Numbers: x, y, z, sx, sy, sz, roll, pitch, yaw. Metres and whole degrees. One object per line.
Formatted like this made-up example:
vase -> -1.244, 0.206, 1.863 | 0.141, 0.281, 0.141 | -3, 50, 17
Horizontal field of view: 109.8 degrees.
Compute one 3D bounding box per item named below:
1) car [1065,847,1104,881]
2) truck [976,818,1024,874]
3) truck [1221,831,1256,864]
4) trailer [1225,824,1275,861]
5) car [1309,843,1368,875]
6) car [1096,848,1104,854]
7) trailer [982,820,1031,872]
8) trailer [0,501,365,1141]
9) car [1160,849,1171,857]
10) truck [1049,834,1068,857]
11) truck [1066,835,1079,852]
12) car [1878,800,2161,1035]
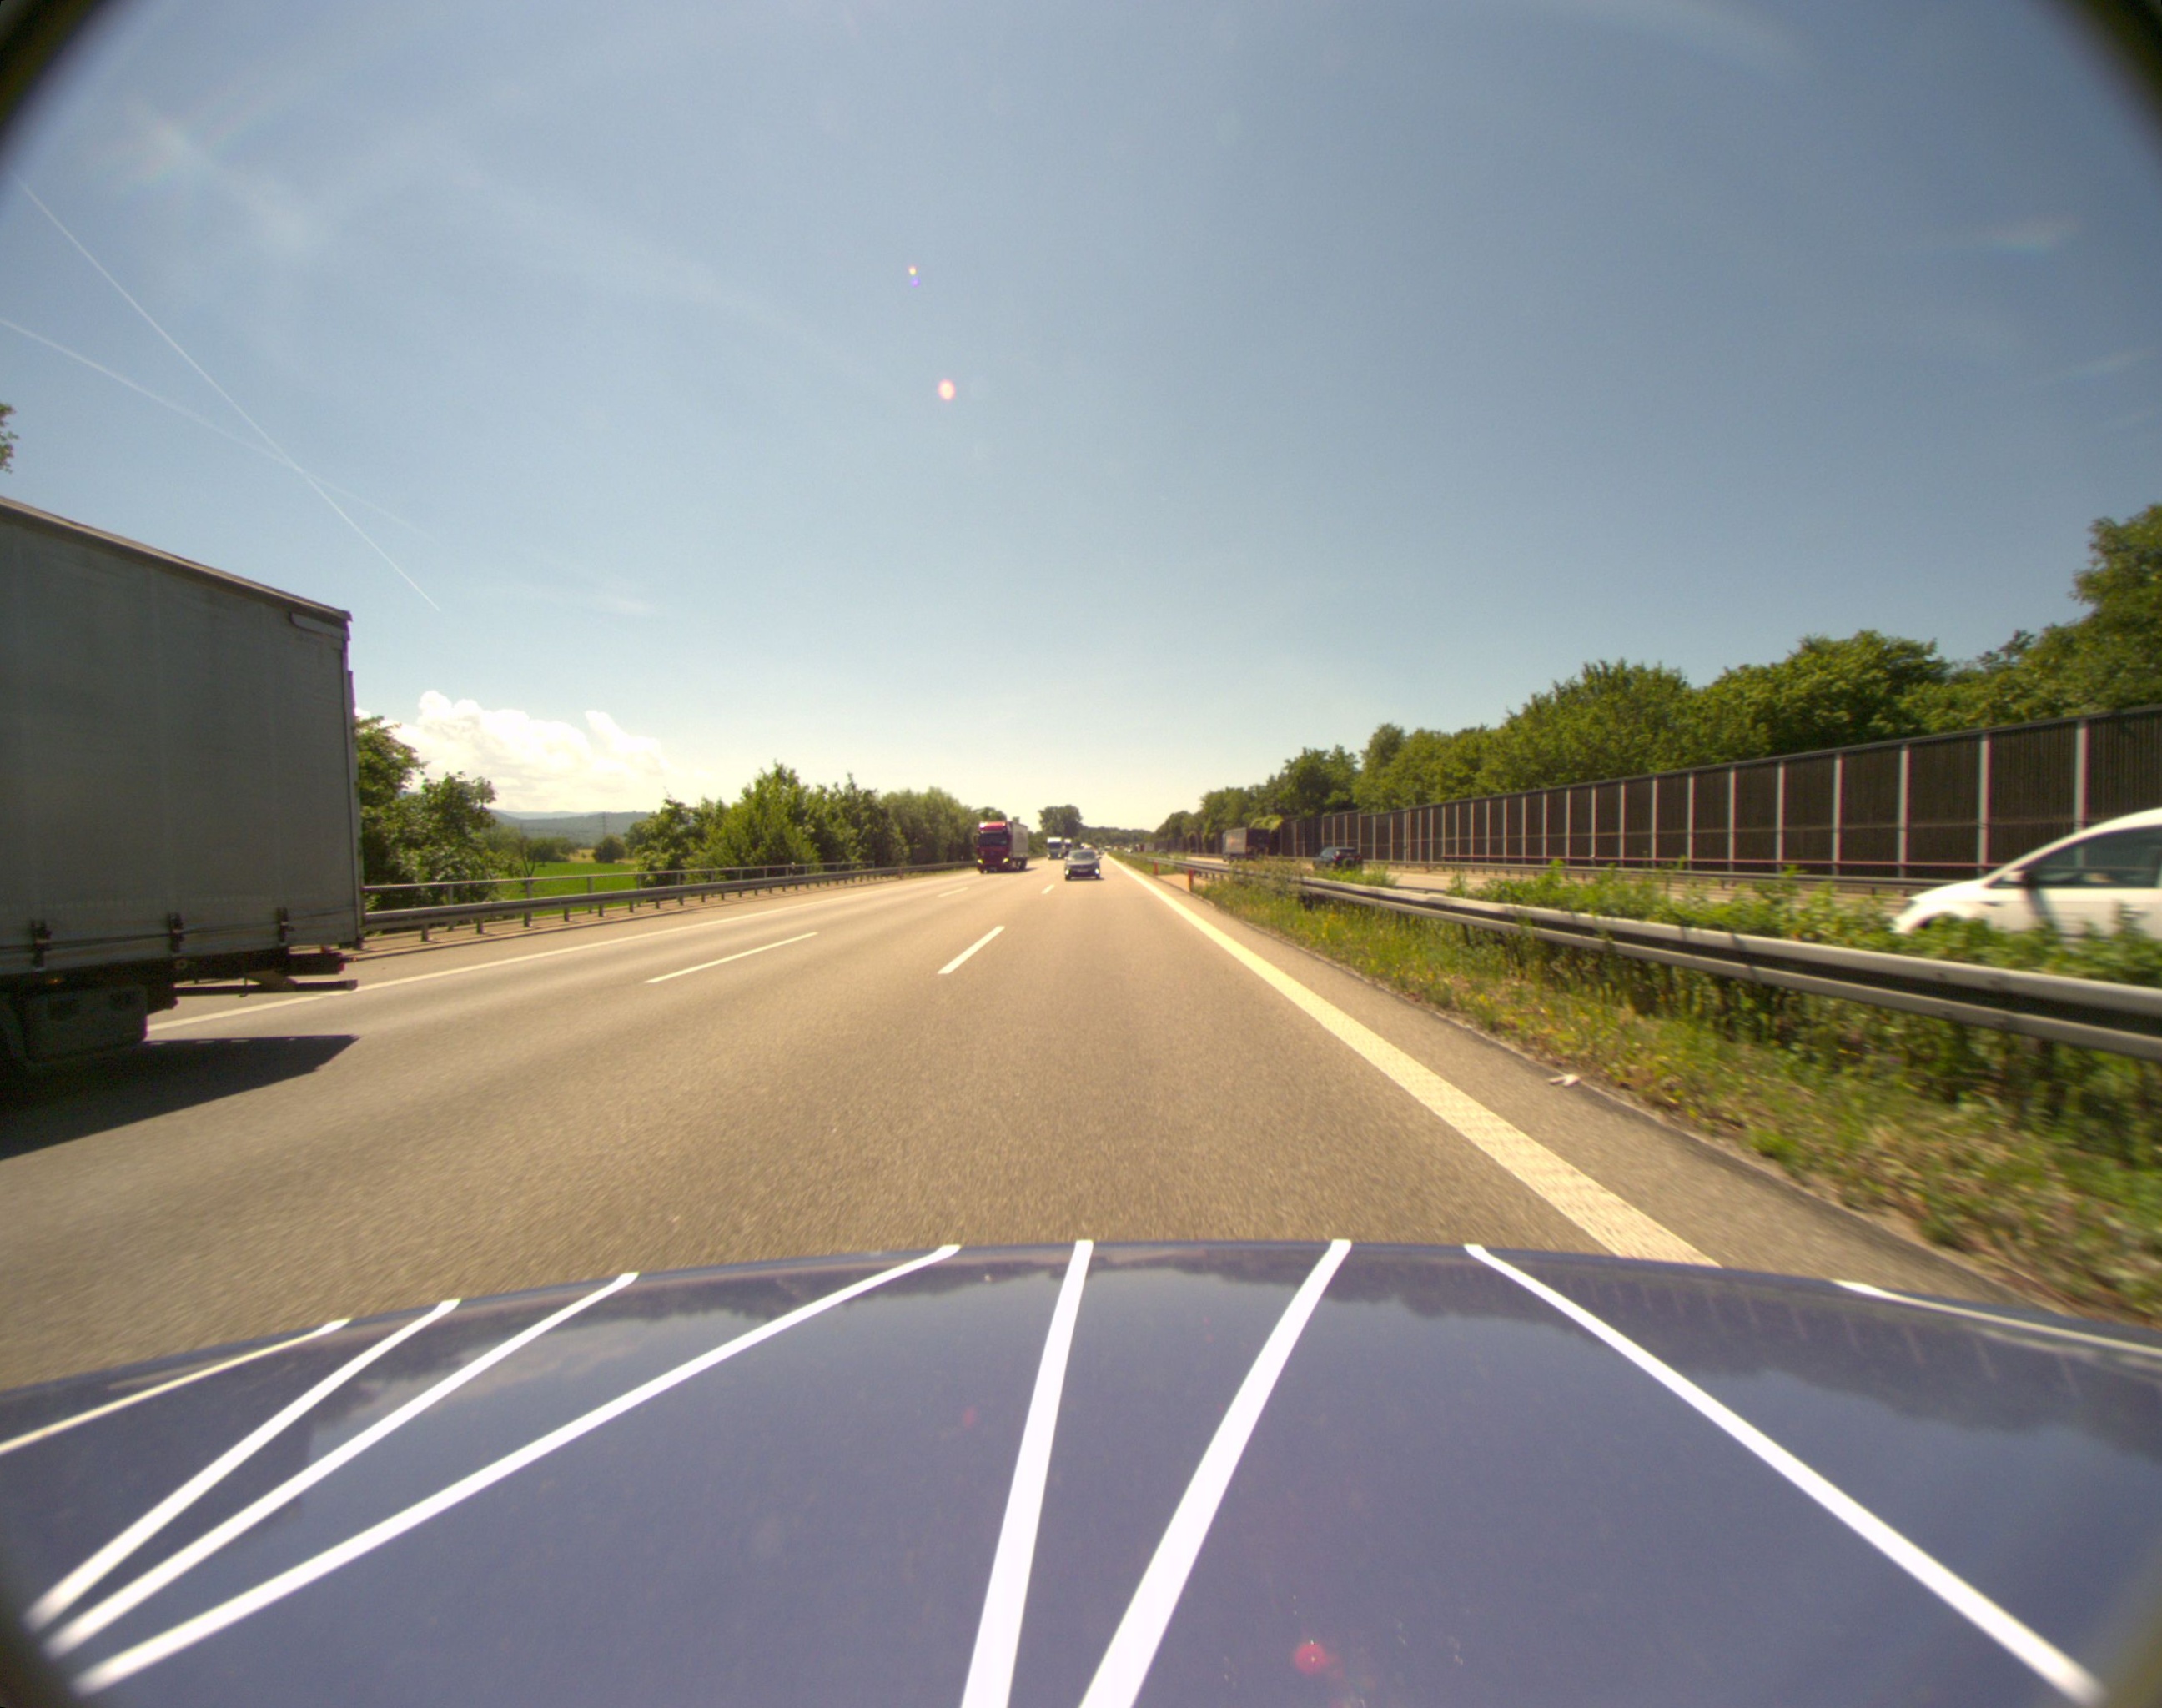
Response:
car -> 0.180, 0.475, 40.104 | 1.885, 1.630, 5.008 | -2, 1, 0
truck -> -6.395, -0.651, 61.300 | 2.802, 4.094, 7.769 | -2, 1, 1
truck -> 20.008, -0.864, 96.876 | 3.100, 3.985, 6.190 | 1, 1, 1
trailer -> 19.919, -1.397, 90.677 | 3.125, 3.985, 13.874 | 1, 1, 1
car -> 14.880, 0.256, 44.119 | 1.885, 1.683, 4.548 | -2, 1, 0
car -> 5.304, -0.830, 208.135 | 1.999, 1.772, 3.999 | -2, 1, -1
trailer -> -6.331, -0.728, 66.811 | 2.802, 4.094, 12.298 | -2, 1, 1
trailer -> -8.334, -0.122, 0.553 | 2.707, 4.094, 13.239 | -2, 1, 1
car -> 17.674, -0.189, 159.219 | 2.001, 1.565, 4.000 | -2, 1, 3
truck -> -4.159, -1.615, 143.093 | 2.992, 4.248, 9.822 | -2, 1, 0
truck -> -1.941, -2.517, 180.619 | 2.743, 3.844, 12.464 | -2, 1, 0
car -> 9.301, 0.493, 5.744 | 1.787, 1.830, 4.558 | 0, 1, 1
